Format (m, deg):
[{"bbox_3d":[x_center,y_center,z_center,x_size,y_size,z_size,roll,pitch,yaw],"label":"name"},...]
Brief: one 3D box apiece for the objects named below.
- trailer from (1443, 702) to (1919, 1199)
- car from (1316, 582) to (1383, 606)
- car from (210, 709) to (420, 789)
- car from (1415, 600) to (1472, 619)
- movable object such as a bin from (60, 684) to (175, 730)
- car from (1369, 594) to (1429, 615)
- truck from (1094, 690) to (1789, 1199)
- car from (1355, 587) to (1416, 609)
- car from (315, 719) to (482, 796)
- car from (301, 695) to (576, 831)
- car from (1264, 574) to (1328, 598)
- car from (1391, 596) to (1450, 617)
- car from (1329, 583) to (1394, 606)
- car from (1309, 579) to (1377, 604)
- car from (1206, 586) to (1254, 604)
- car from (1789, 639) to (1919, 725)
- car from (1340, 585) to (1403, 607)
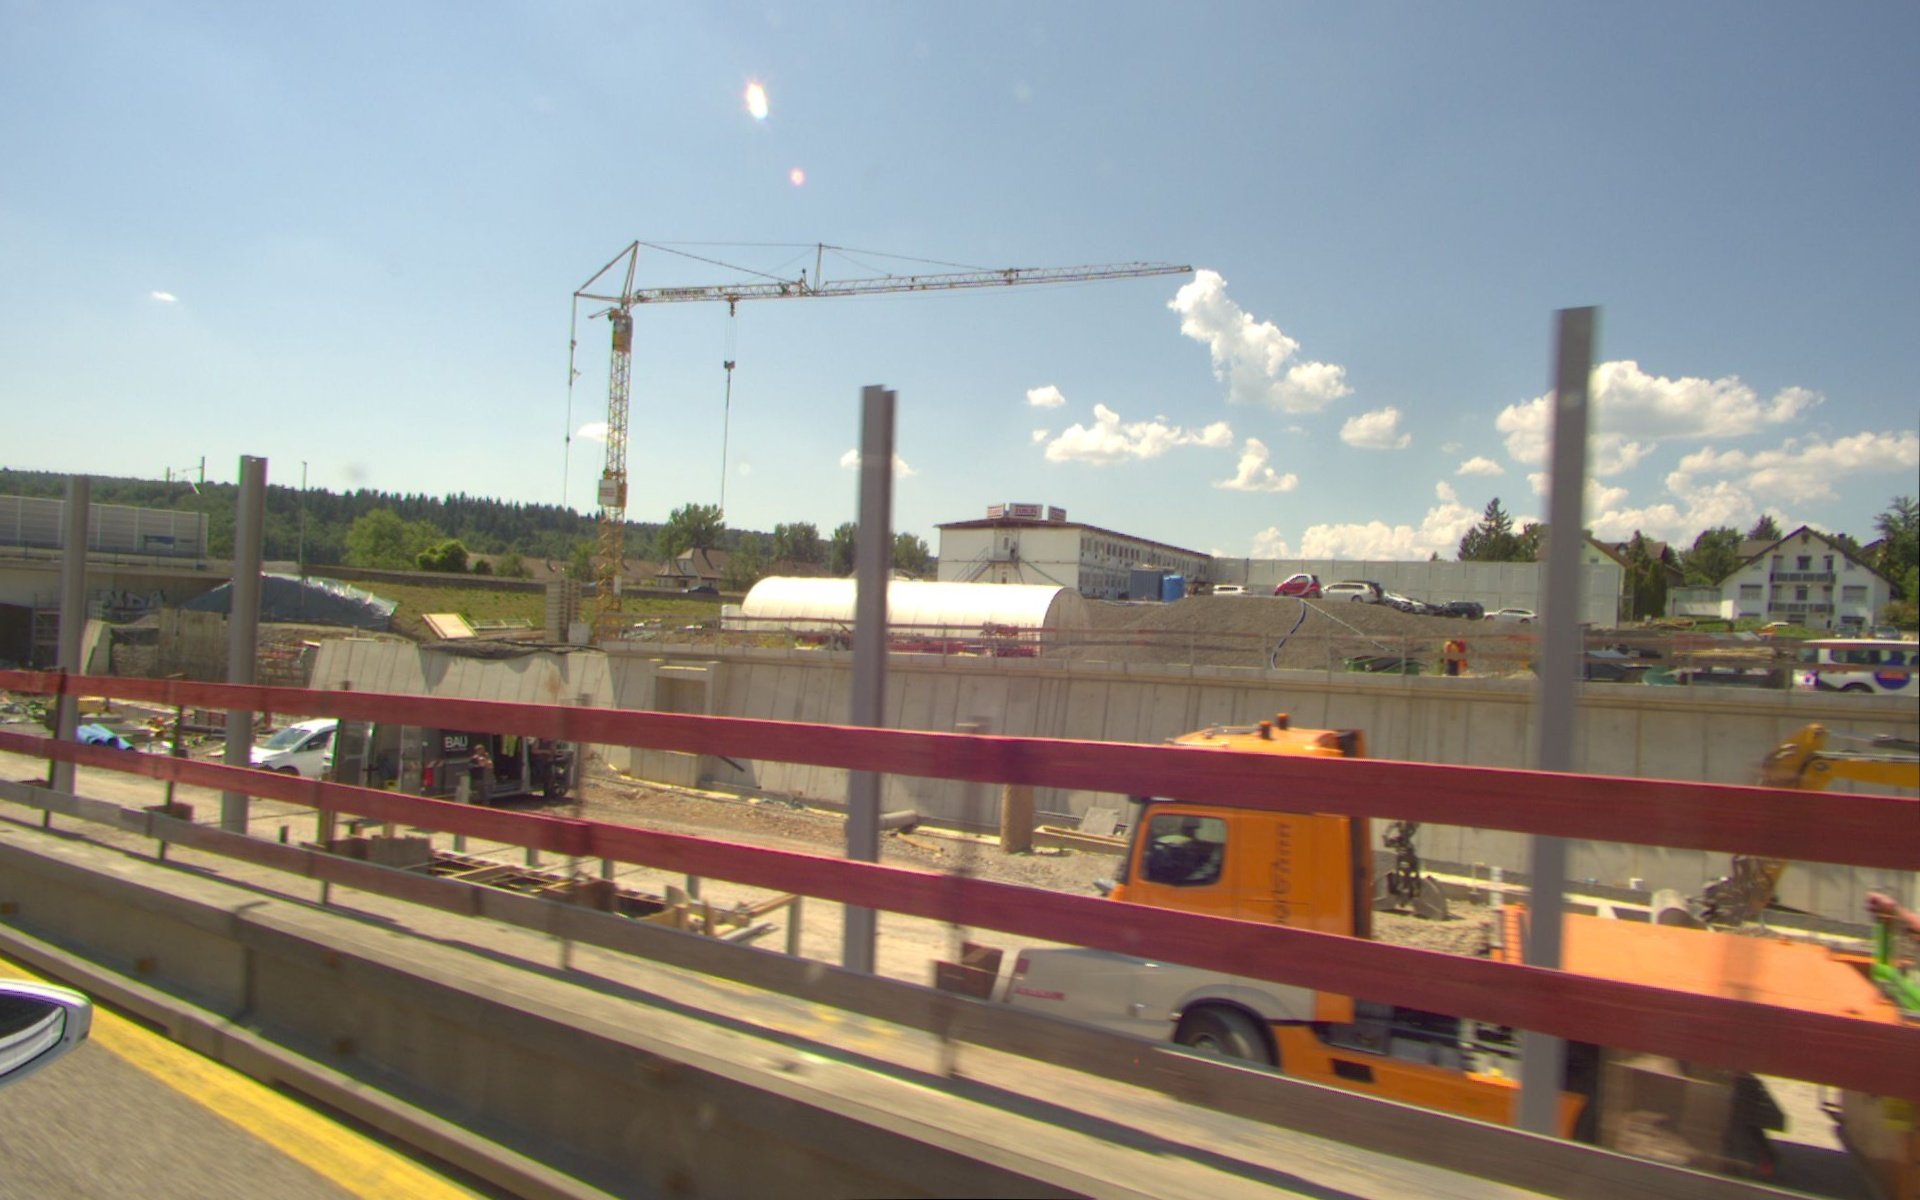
[{"bbox_3d":[10.632,3.088,7.087,12.851,3.936,2.756,0,-1,30],"label":"trailer"},{"bbox_3d":[26.484,-0.395,68.086,4.014,1.537,1.679,0,-1,30],"label":"car"},{"bbox_3d":[-18.676,4.258,29.252,1.969,1.796,4.726,2,-2,29],"label":"car"},{"bbox_3d":[39.239,0.777,81.253,4.014,1.537,1.679,0,-1,30],"label":"car"},{"bbox_3d":[-32.474,4.114,38.679,3.059,1.583,1.547,1,-1,-26],"label":"movable object such as a bin"},{"bbox_3d":[33.406,0.332,76.173,4.014,1.537,1.679,0,-1,30],"label":"car"},{"bbox_3d":[4.631,3.101,10.481,5.792,3.936,2.756,0,-1,30],"label":"truck"},{"bbox_3d":[31.484,-0.121,74.112,4.014,1.537,1.712,0,-1,30],"label":"car"},{"bbox_3d":[-15.706,4.358,28.215,1.738,1.689,3.763,2,-2,24],"label":"car"},{"bbox_3d":[-12.957,3.936,25.531,2.484,2.617,6.102,2,-2,19],"label":"car"},{"bbox_3d":[20.092,-0.807,59.861,3.378,1.333,1.513,0,-1,30],"label":"car"},{"bbox_3d":[35.800,0.505,77.840,4.014,1.537,1.679,0,-1,30],"label":"car"},{"bbox_3d":[28.117,-0.338,70.091,4.014,1.537,1.679,0,-1,30],"label":"car"},{"bbox_3d":[25.196,-0.526,65.918,4.014,1.537,1.679,0,-1,30],"label":"car"},{"bbox_3d":[21.099,-0.360,78.314,3.378,1.297,1.513,0,-1,30],"label":"car"},{"bbox_3d":[24.030,2.045,25.065,4.749,2.039,1.805,0,-1,28],"label":"car"},{"bbox_3d":[29.605,-0.287,72.135,4.014,1.537,1.706,0,-1,30],"label":"car"}]
